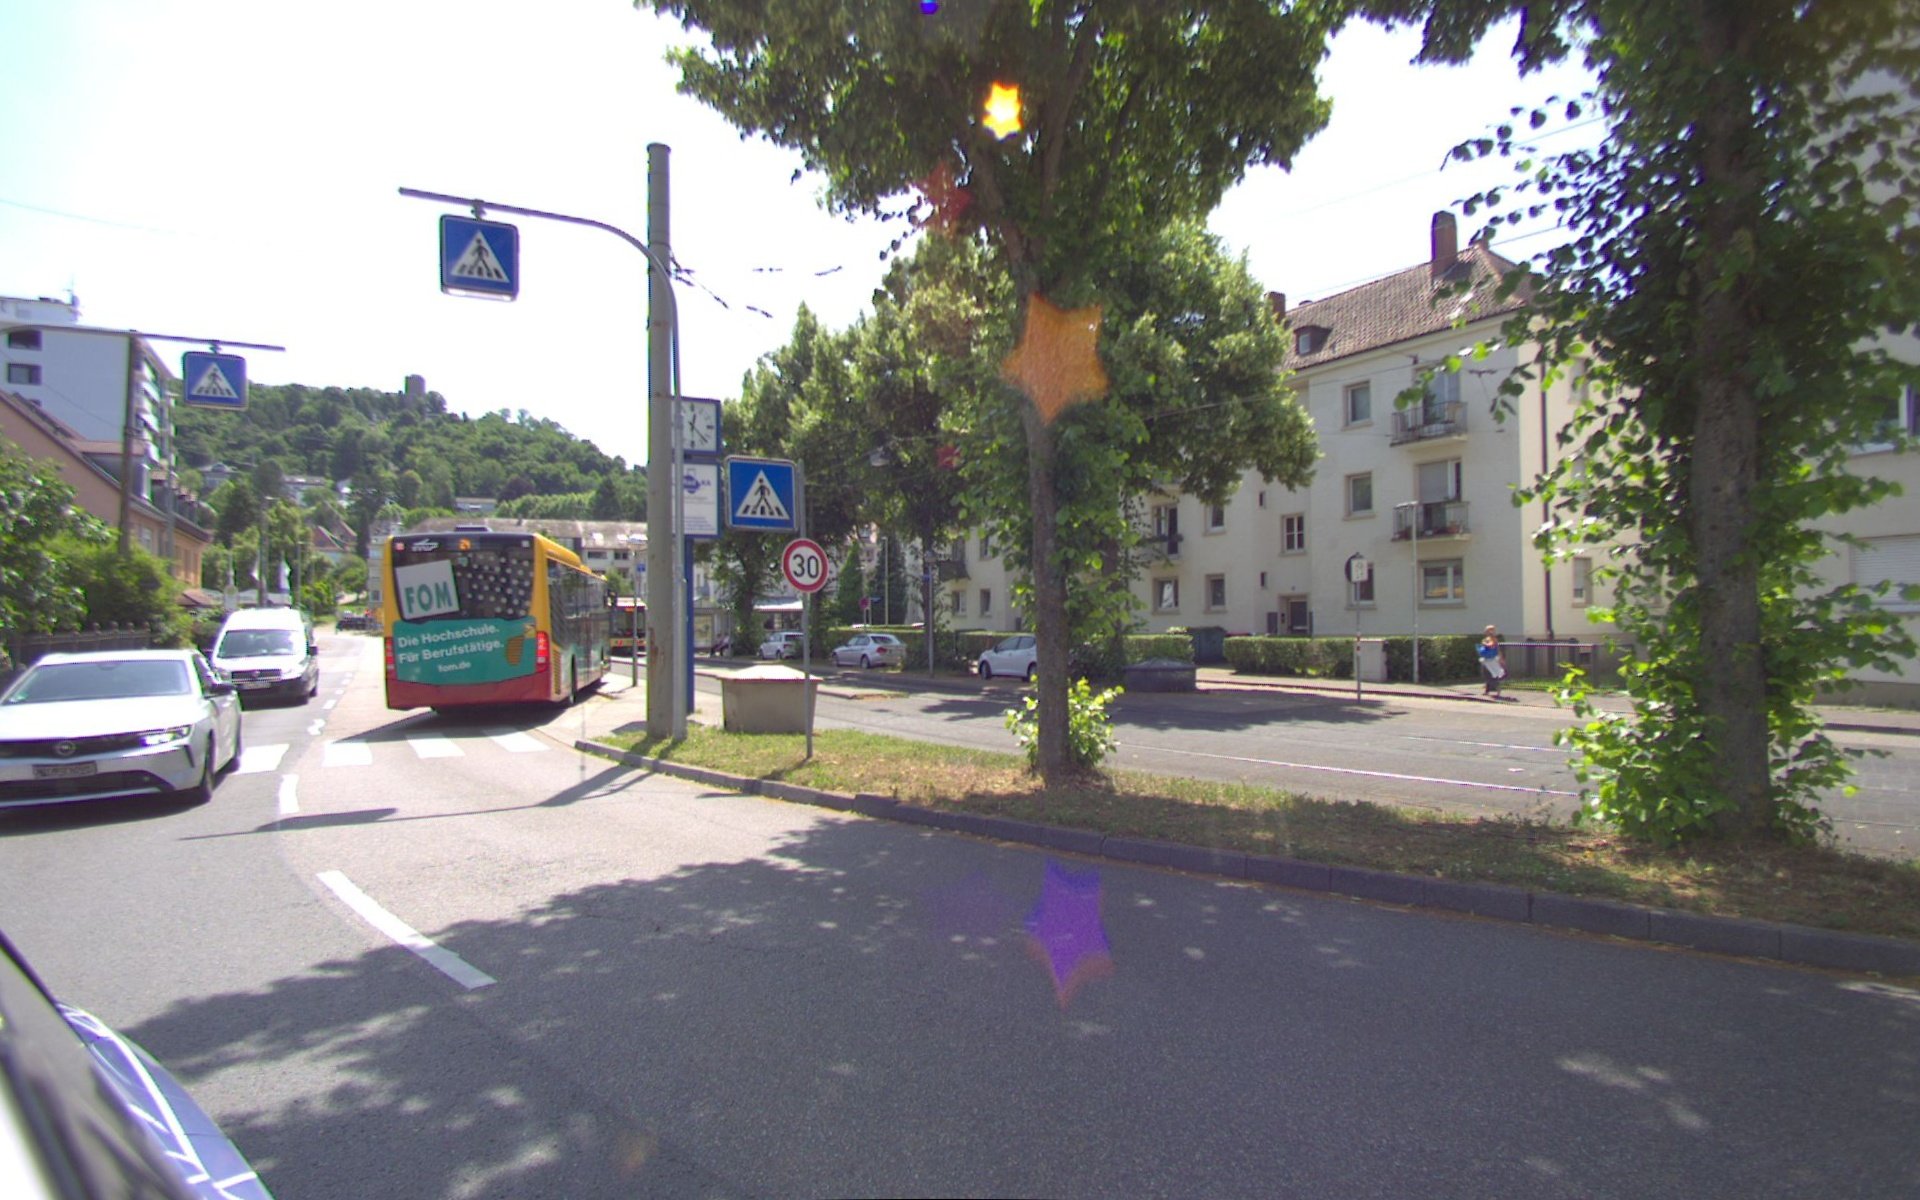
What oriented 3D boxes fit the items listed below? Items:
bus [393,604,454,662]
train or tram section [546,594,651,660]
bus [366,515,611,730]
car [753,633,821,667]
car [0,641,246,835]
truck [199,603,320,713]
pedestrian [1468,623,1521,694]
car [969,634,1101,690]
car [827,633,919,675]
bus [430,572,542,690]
[{"bbox_3d":[-32.640,1.999,61.369,2.533,3.213,10.183,1,-2,-32],"label":"bus"},{"bbox_3d":[-21.896,1.581,60.538,2.850,3.547,13.941,0,-1,-32],"label":"train or tram section"},{"bbox_3d":[-9.221,0.498,21.222,2.663,3.322,10.887,-1,-2,-14],"label":"bus"},{"bbox_3d":[-8.121,2.303,47.220,1.813,1.494,3.884,0,-2,-32],"label":"car"},{"bbox_3d":[-8.287,1.173,9.939,1.772,1.477,4.183,-1,-2,-31],"label":"car"},{"bbox_3d":[-16.366,1.317,23.897,1.987,2.266,5.423,-1,-2,-31],"label":"truck"},{"bbox_3d":[12.135,1.309,22.967,0.764,1.571,0.746,0,-2,-33],"label":"pedestrian"},{"bbox_3d":[2.110,1.753,29.555,1.813,1.494,3.967,0,-2,-32],"label":"car"},{"bbox_3d":[-3.415,2.025,38.997,1.813,1.494,4.270,0,-2,-32],"label":"car"},{"bbox_3d":[-17.564,1.164,36.960,2.651,3.635,12.244,0,-2,-30],"label":"bus"}]
